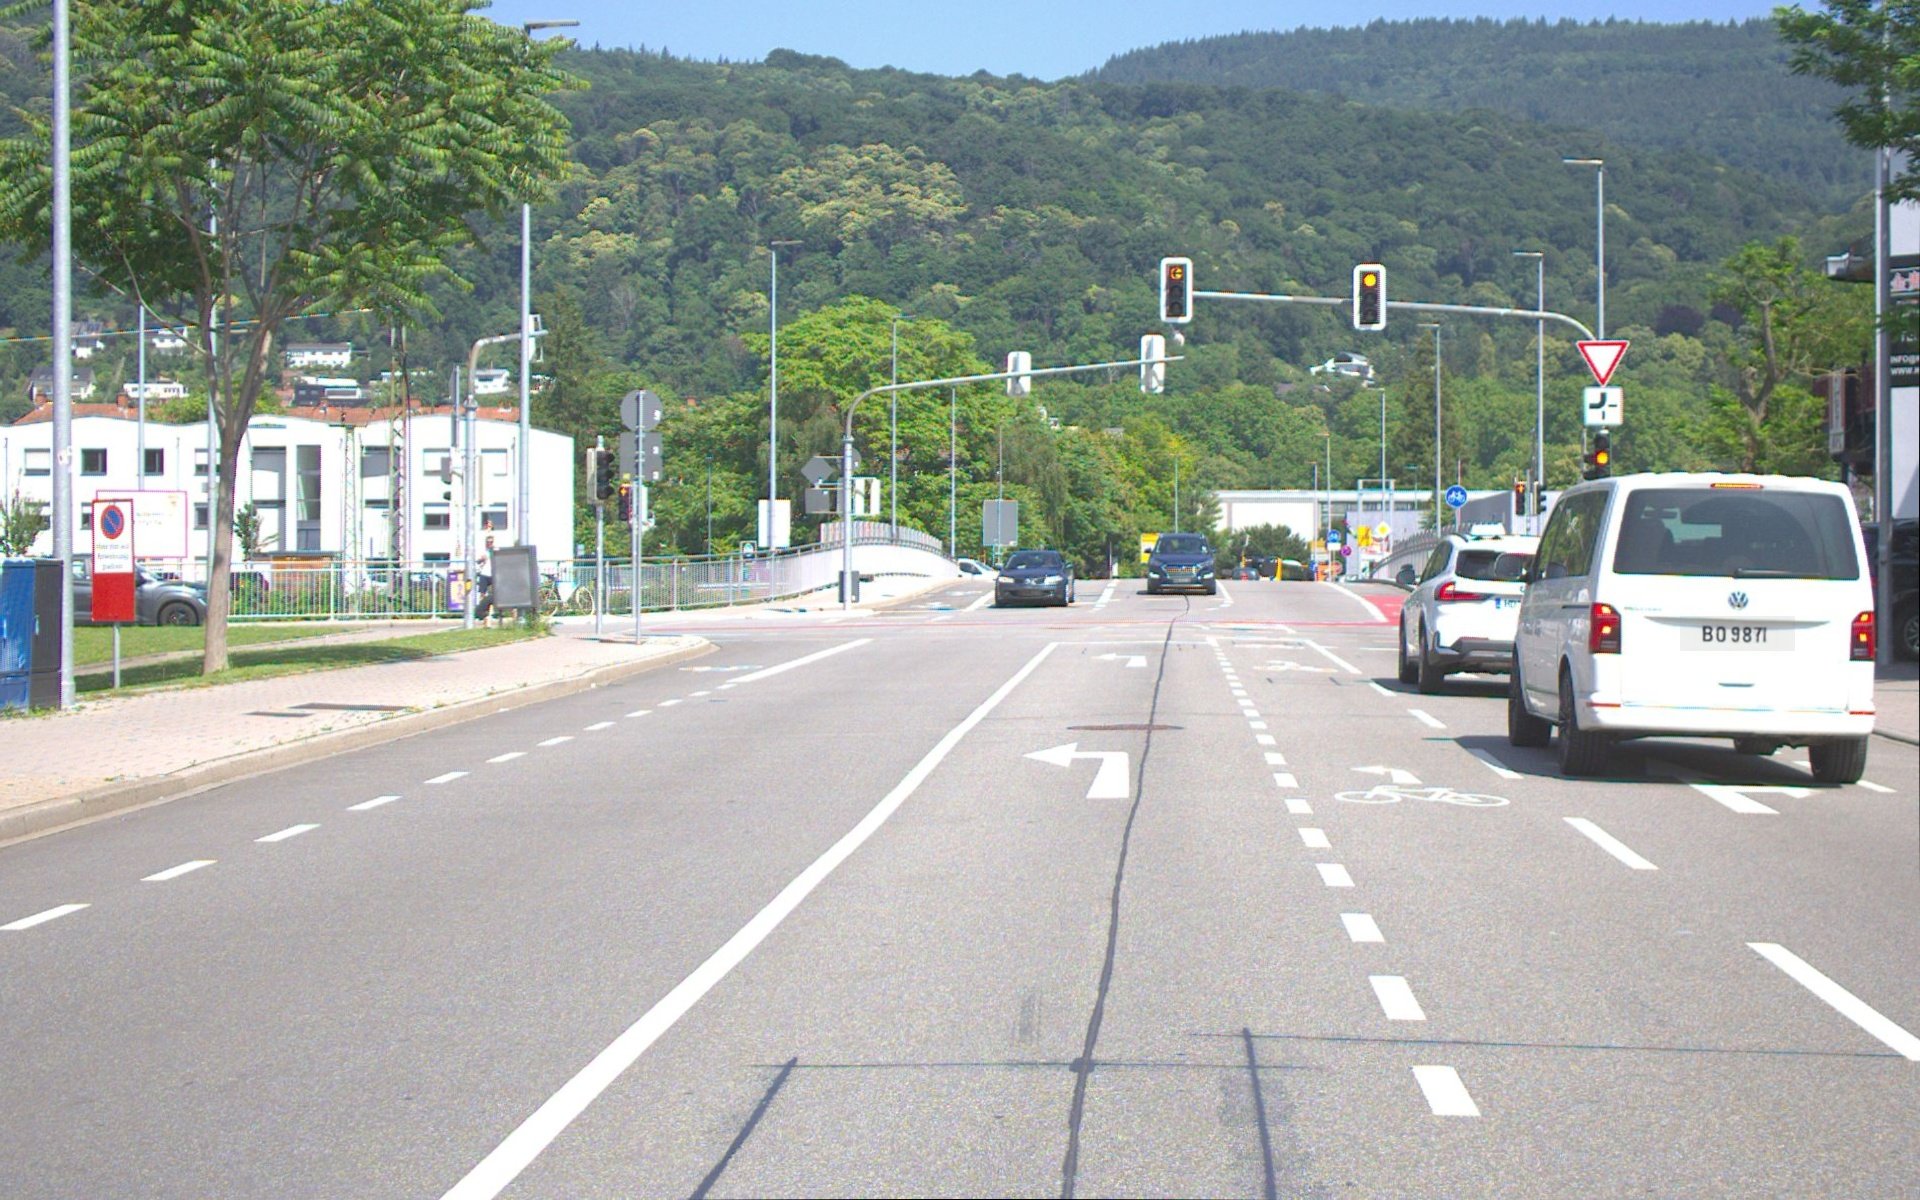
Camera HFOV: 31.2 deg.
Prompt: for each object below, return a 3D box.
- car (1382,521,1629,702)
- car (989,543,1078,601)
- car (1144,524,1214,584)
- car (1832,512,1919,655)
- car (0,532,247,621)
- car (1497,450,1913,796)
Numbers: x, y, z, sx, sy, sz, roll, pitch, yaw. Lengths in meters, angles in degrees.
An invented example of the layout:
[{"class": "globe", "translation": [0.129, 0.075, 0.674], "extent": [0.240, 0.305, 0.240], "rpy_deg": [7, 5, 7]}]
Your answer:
[{"class": "car", "translation": [5.551, 0.064, 35.505], "extent": [1.935, 1.681, 4.544], "rpy_deg": [2, 1, 2]}, {"class": "car", "translation": [1.851, -0.707, 85.492], "extent": [1.994, 1.365, 4.326], "rpy_deg": [0, 1, 4]}, {"class": "car", "translation": [5.940, -1.260, 93.207], "extent": [1.850, 1.583, 4.000], "rpy_deg": [0, 1, 4]}, {"class": "car", "translation": [13.106, -0.229, 43.280], "extent": [3.988, 1.769, 1.999], "rpy_deg": [0, 1, 10]}, {"class": "car", "translation": [-15.590, -0.454, 64.086], "extent": [4.314, 1.587, 2.001], "rpy_deg": [0, 1, -6]}, {"class": "car", "translation": [4.919, 0.081, 23.346], "extent": [1.935, 2.052, 4.544], "rpy_deg": [2, 2, 2]}]
